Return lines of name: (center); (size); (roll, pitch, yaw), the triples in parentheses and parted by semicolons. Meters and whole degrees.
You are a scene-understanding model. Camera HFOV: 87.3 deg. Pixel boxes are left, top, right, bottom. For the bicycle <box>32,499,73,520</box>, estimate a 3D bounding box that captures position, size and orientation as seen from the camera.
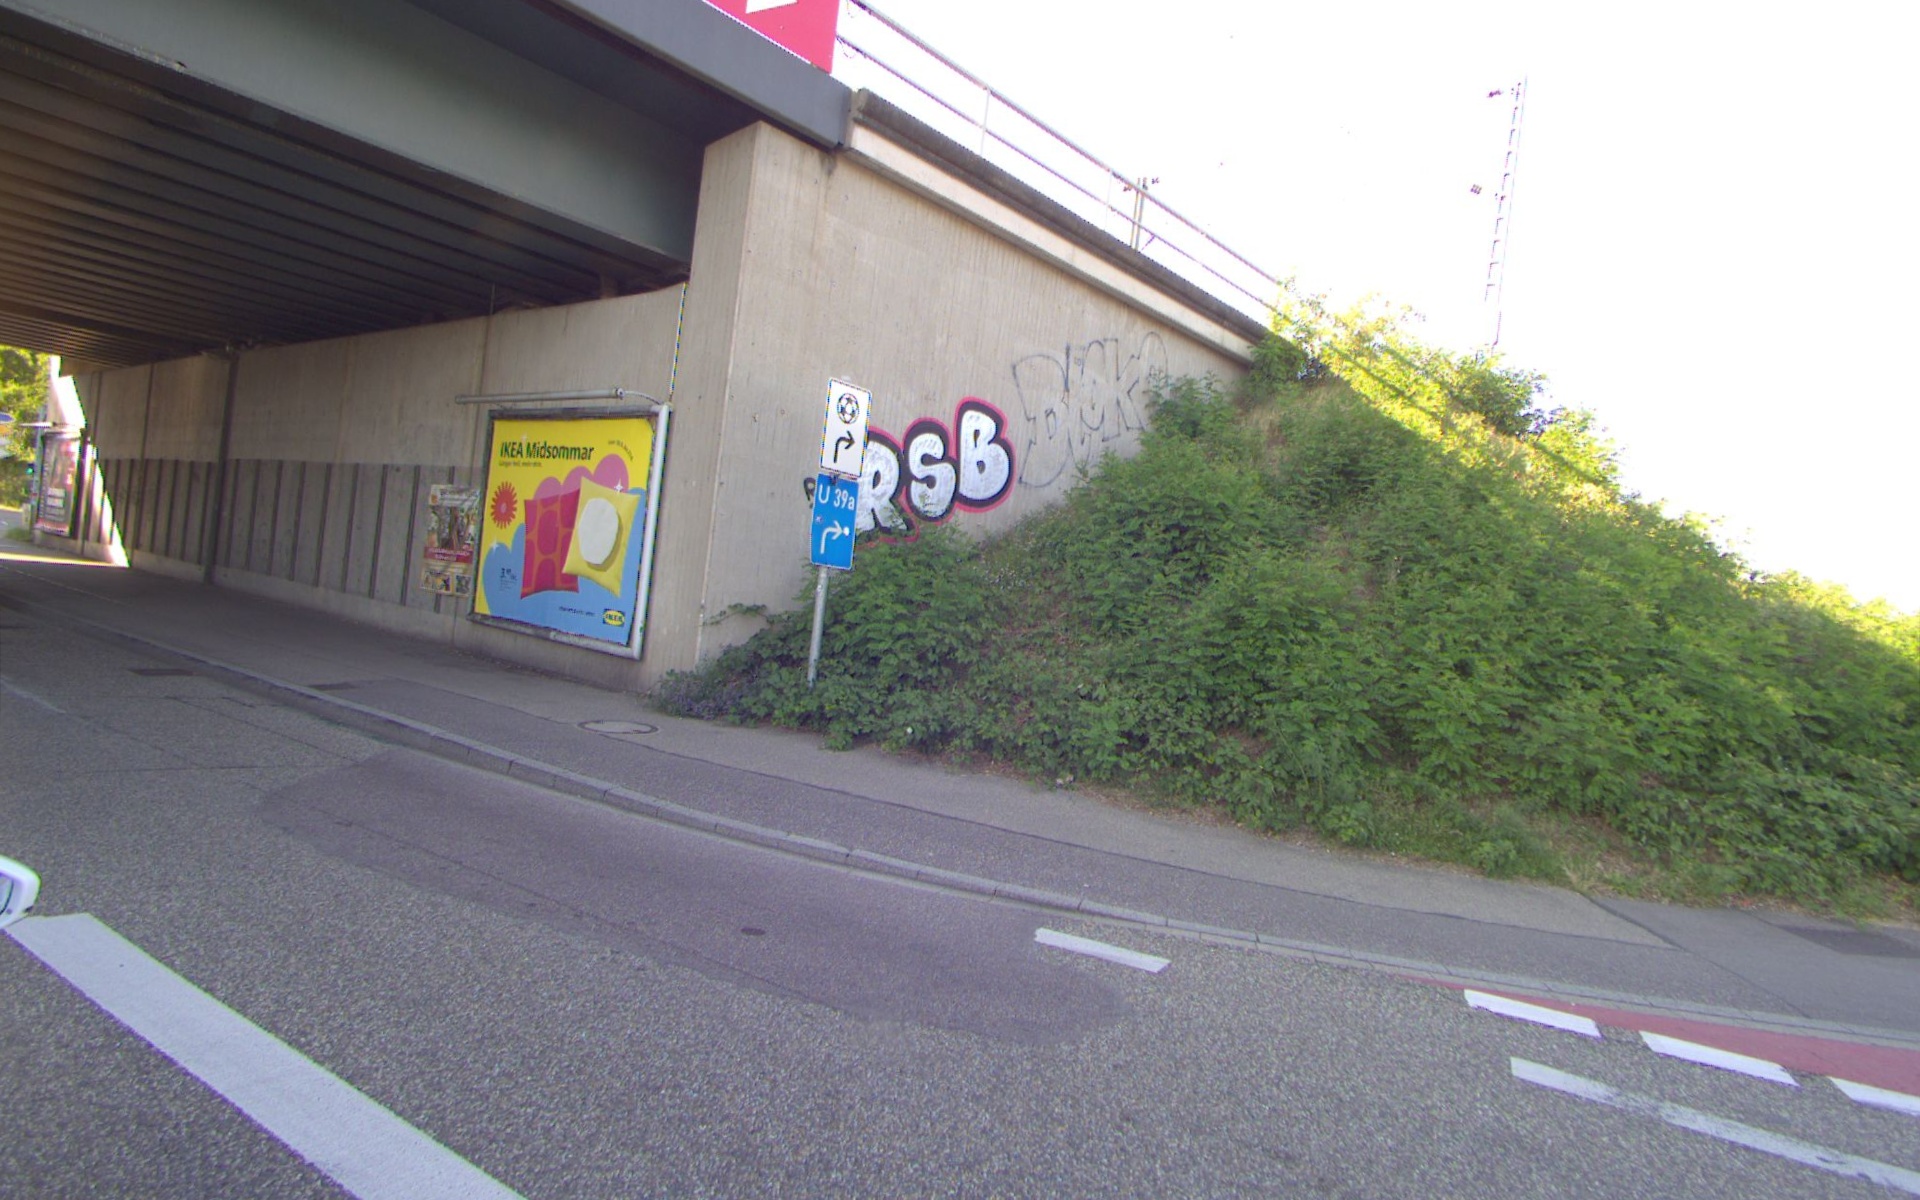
bicycle: (-53.860, -5.380, 59.712); (1.652, 1.004, 0.572); (7, 3, -35)
